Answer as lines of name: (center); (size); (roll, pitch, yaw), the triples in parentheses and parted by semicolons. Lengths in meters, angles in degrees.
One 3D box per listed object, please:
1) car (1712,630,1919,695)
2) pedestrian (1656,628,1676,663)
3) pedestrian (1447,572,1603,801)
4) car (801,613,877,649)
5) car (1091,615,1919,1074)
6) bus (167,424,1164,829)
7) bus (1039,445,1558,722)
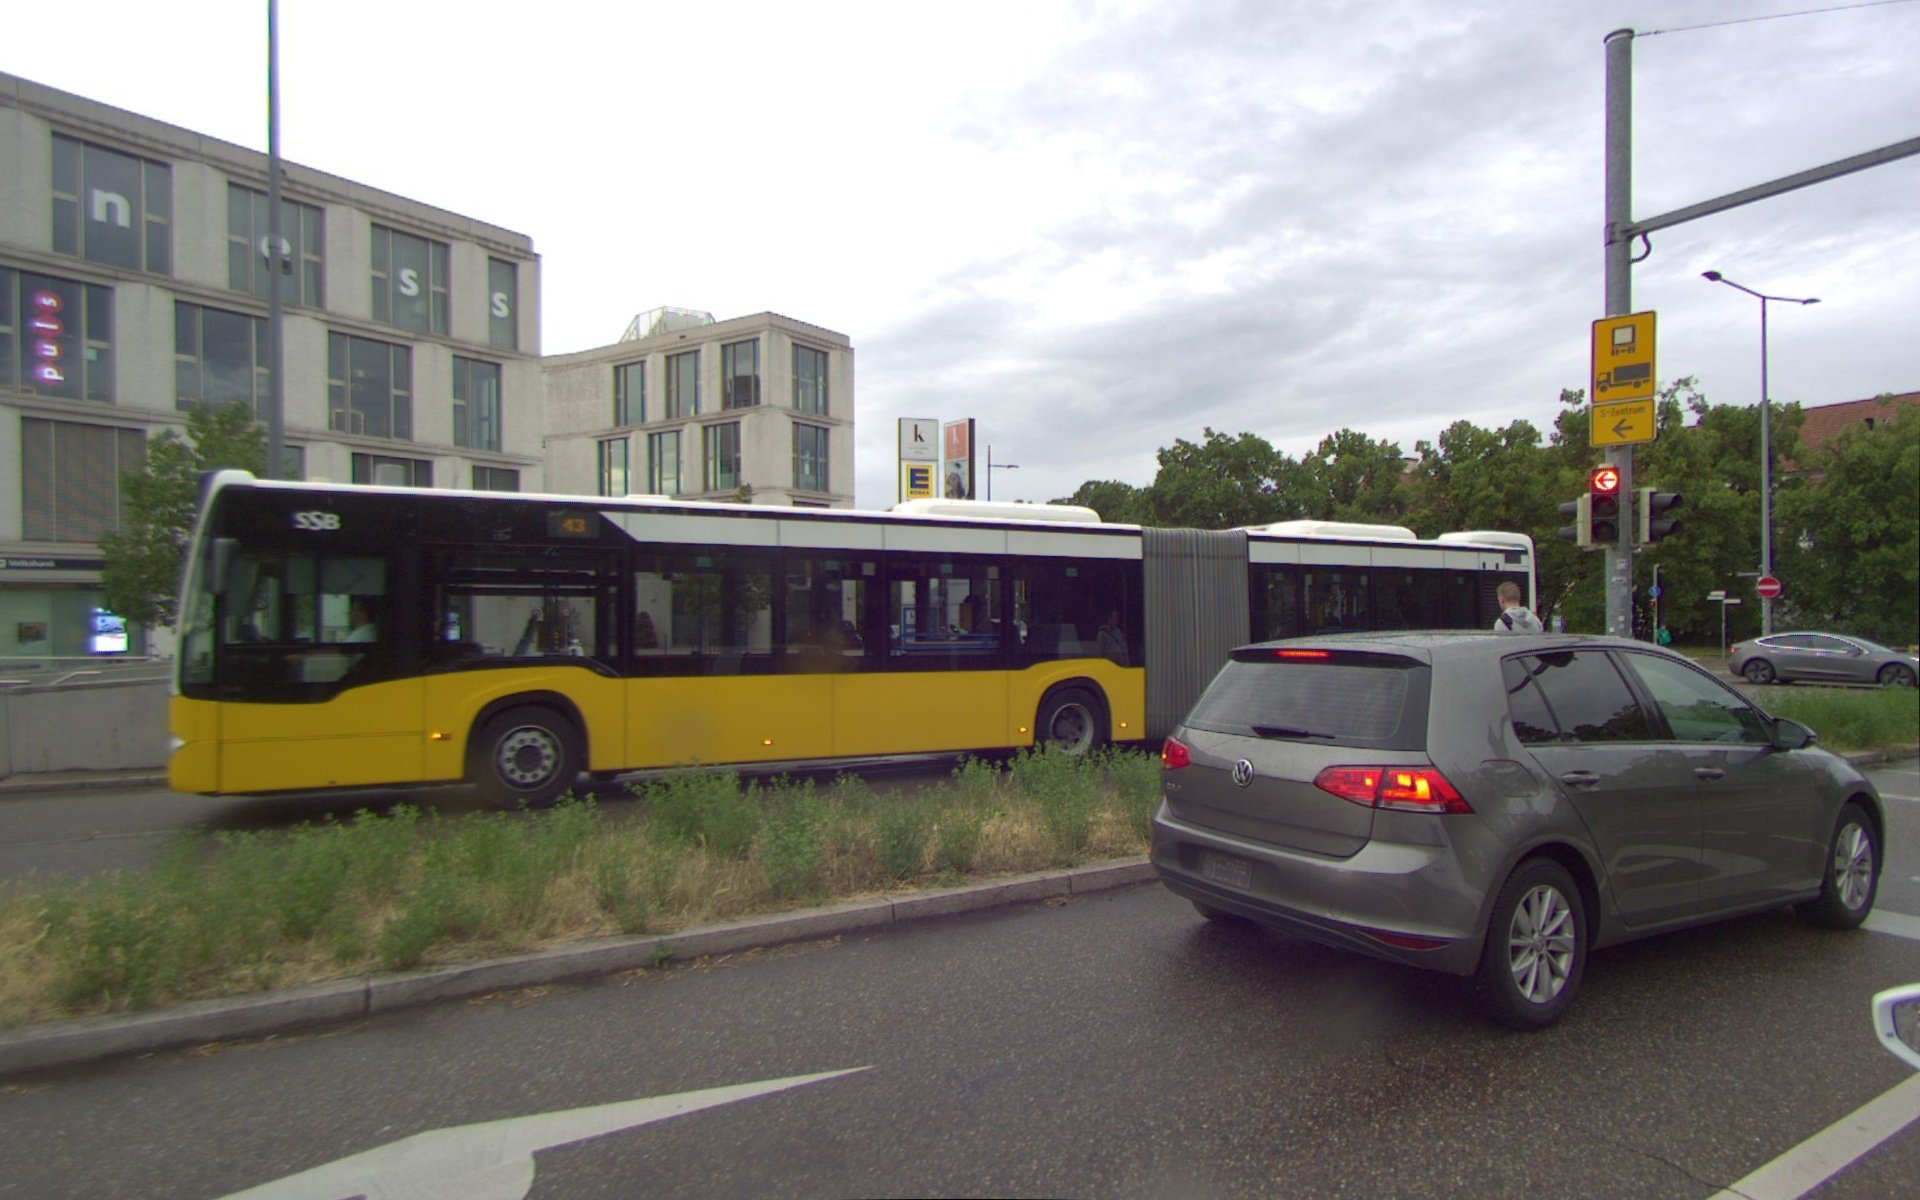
car: (22.949, 1.571, 26.397); (1.978, 1.444, 4.743); (1, 0, -32)
pedestrian: (31.087, 2.003, 44.223); (0.612, 1.510, 0.767); (0, -1, 44)
pedestrian: (5.376, 0.805, 9.599); (0.835, 2.040, 0.938); (1, -3, -25)
car: (-6.178, 1.562, 51.643); (1.748, 1.754, 3.991); (0, -1, 32)
car: (2.861, 0.852, 5.006); (4.146, 1.448, 1.798); (1, -3, -29)
bus: (-2.454, 0.315, 11.272); (9.630, 3.144, 2.878); (1, -1, -27)
bus: (5.503, -0.101, 15.580); (8.478, 3.351, 2.873); (1, -1, -31)
